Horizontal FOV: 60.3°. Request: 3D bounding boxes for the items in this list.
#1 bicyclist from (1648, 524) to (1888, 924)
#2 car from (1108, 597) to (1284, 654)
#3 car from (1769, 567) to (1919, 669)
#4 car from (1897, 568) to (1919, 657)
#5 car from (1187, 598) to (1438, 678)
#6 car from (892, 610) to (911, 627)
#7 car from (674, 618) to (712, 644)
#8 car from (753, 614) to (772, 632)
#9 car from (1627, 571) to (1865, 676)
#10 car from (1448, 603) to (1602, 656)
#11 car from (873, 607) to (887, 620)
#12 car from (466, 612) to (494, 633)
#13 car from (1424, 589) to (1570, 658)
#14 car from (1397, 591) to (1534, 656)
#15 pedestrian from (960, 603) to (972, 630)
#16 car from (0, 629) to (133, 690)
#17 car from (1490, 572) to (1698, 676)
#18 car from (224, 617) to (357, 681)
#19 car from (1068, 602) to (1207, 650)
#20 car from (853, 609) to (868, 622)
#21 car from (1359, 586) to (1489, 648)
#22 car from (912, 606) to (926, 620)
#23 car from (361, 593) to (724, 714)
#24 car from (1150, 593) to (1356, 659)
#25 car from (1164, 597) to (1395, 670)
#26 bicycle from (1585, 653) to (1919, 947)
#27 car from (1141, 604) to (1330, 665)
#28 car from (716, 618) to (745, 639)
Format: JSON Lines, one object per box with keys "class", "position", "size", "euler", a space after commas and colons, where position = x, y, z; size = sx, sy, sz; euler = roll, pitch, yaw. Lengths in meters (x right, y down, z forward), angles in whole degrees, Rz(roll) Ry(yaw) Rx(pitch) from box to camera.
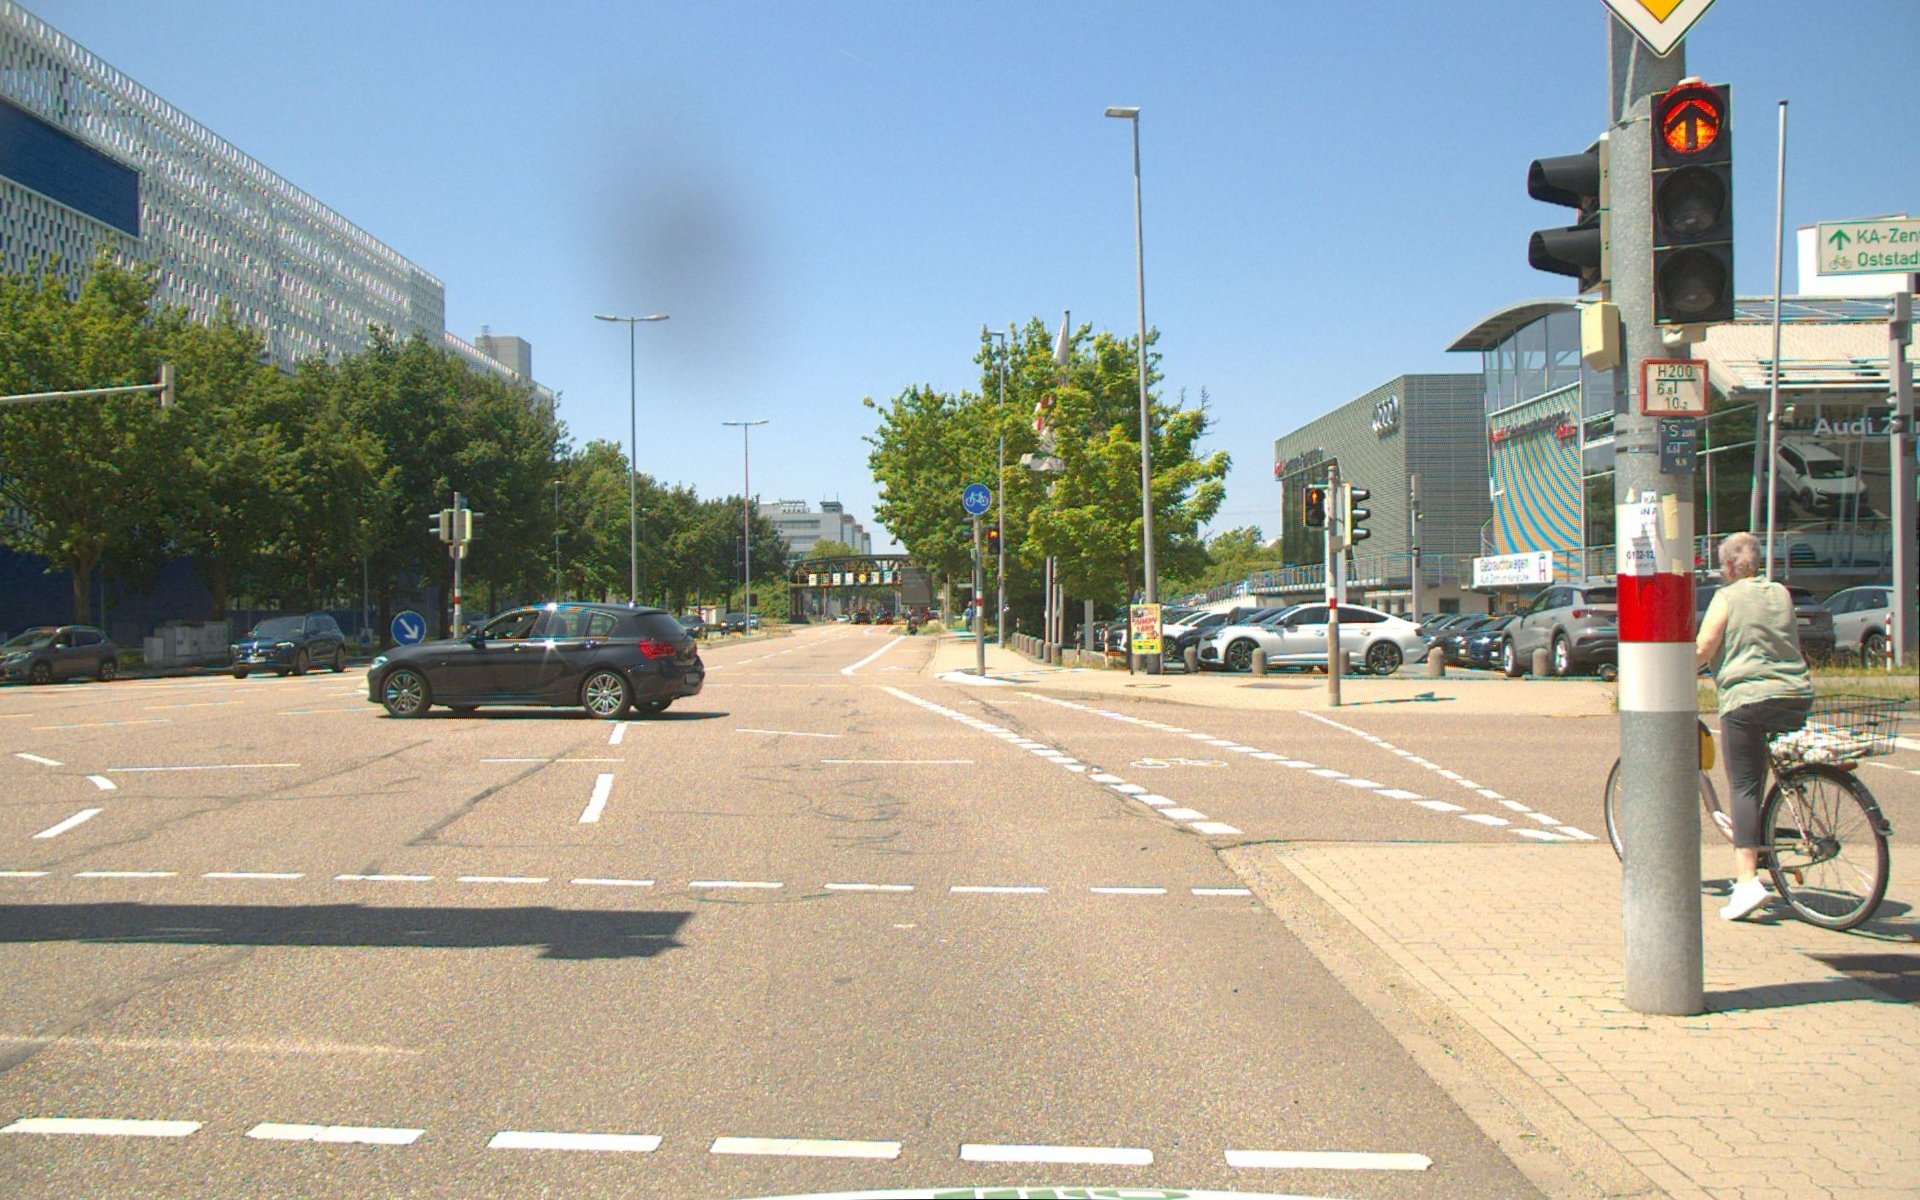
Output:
{"class": "bicyclist", "position": [3.765, 0.551, 7.757], "size": [0.719, 1.779, 0.753], "euler": [0, 0, -5]}
{"class": "car", "position": [6.608, 0.708, 46.649], "size": [4.646, 1.482, 1.999], "euler": [-1, 0, -3]}
{"class": "car", "position": [16.466, 0.258, 29.382], "size": [1.953, 1.668, 4.440], "euler": [-1, 0, -1]}
{"class": "car", "position": [18.832, 0.228, 29.285], "size": [1.847, 1.668, 4.524], "euler": [-1, 0, -1]}
{"class": "car", "position": [7.034, 0.746, 33.338], "size": [4.643, 1.482, 2.000], "euler": [-1, 0, 1]}
{"class": "car", "position": [-3.733, 1.172, 105.338], "size": [1.114, 1.060, 2.308], "euler": [-1, 0, -1]}
{"class": "car", "position": [-15.827, 1.832, 98.201], "size": [1.697, 1.452, 3.705], "euler": [-3, -1, -1]}
{"class": "car", "position": [-19.160, 2.239, 160.322], "size": [1.617, 1.682, 4.159], "euler": [-1, 0, -5]}
{"class": "car", "position": [13.673, 0.364, 29.101], "size": [1.953, 1.668, 4.557], "euler": [-1, 0, -1]}
{"class": "car", "position": [16.852, 0.872, 49.468], "size": [4.008, 1.486, 1.719], "euler": [-1, 0, 0]}
{"class": "car", "position": [-10.622, 1.817, 219.860], "size": [1.736, 1.758, 3.999], "euler": [-1, -1, -1]}
{"class": "car", "position": [-46.046, 2.122, 158.742], "size": [1.955, 1.842, 4.023], "euler": [1, 0, -7]}
{"class": "car", "position": [16.767, 0.721, 51.809], "size": [3.905, 2.049, 2.000], "euler": [-1, 0, 0]}
{"class": "car", "position": [16.658, 0.764, 54.623], "size": [3.905, 2.049, 2.000], "euler": [-1, 0, 0]}
{"class": "pedestrian", "position": [0.324, 0.942, 94.712], "size": [0.654, 1.537, 0.736], "euler": [-1, 0, -1]}
{"class": "car", "position": [-24.617, 1.595, 44.732], "size": [1.735, 1.560, 3.750], "euler": [-2, -1, 26]}
{"class": "car", "position": [11.043, 0.383, 29.150], "size": [1.953, 1.668, 4.267], "euler": [-1, 0, -1]}
{"class": "car", "position": [-18.298, 1.303, 45.424], "size": [1.837, 1.626, 4.495], "euler": [-1, -1, -1]}
{"class": "car", "position": [6.277, 0.909, 58.909], "size": [4.646, 1.482, 1.999], "euler": [-2, 0, -3]}
{"class": "car", "position": [-13.529, 2.156, 225.267], "size": [1.736, 1.758, 3.999], "euler": [-1, -1, -1]}
{"class": "car", "position": [15.962, 0.585, 57.043], "size": [3.905, 2.049, 2.000], "euler": [-1, 0, 0]}
{"class": "car", "position": [-5.431, 1.717, 220.622], "size": [1.736, 1.758, 3.999], "euler": [-1, -1, -1]}
{"class": "car", "position": [-5.241, 0.675, 20.982], "size": [4.132, 1.436, 1.673], "euler": [-1, -1, 9]}
{"class": "car", "position": [7.033, 0.613, 40.037], "size": [4.643, 1.482, 2.000], "euler": [-1, 0, 1]}
{"class": "car", "position": [6.884, 0.734, 36.004], "size": [4.643, 1.482, 2.000], "euler": [-1, -1, 1]}
{"class": "bicycle", "position": [3.783, 0.864, 7.871], "size": [0.771, 1.147, 1.919], "euler": [0, 0, -4]}
{"class": "car", "position": [7.255, 0.888, 43.857], "size": [4.646, 1.482, 1.999], "euler": [-1, 0, -3]}
{"class": "car", "position": [-16.890, 2.085, 121.597], "size": [1.650, 1.436, 3.664], "euler": [-1, -1, -1]}
